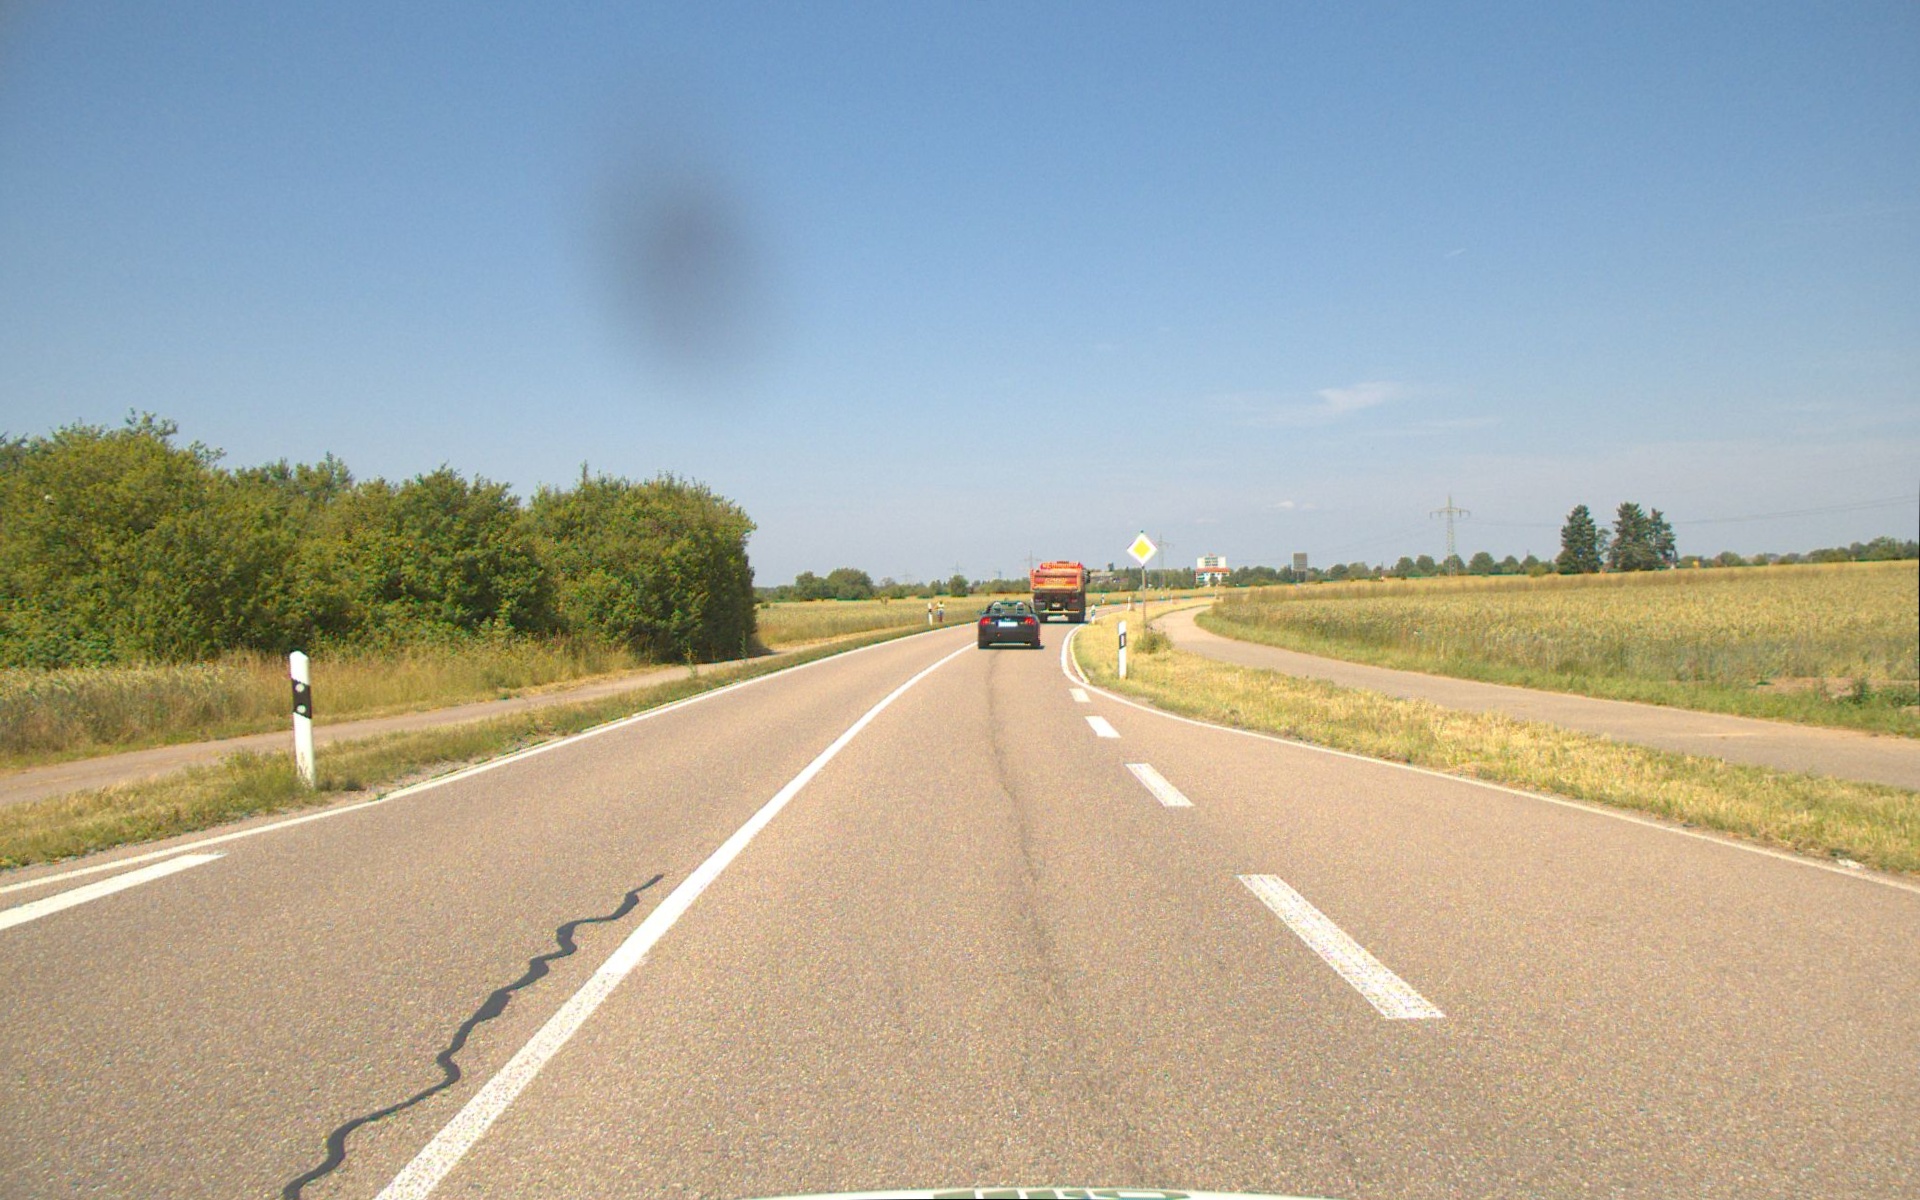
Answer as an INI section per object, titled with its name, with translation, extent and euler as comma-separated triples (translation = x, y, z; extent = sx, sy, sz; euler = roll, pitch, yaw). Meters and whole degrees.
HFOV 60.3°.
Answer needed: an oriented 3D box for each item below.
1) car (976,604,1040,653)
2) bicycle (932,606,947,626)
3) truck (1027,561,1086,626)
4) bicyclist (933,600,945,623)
[car]
translation = 1.407, 0.782, 47.155
extent = 1.707, 1.302, 4.002
euler = 0, 0, 3
[bicycle]
translation = -1.352, 1.028, 107.076
extent = 0.679, 1.197, 1.965
euler = -2, 1, 6
[truck]
translation = 4.996, -0.313, 84.854
extent = 2.876, 3.143, 7.200
euler = -1, 0, 4
[bicyclist]
translation = -1.371, 0.745, 106.989
extent = 0.649, 1.463, 0.823
euler = -1, 0, 6
